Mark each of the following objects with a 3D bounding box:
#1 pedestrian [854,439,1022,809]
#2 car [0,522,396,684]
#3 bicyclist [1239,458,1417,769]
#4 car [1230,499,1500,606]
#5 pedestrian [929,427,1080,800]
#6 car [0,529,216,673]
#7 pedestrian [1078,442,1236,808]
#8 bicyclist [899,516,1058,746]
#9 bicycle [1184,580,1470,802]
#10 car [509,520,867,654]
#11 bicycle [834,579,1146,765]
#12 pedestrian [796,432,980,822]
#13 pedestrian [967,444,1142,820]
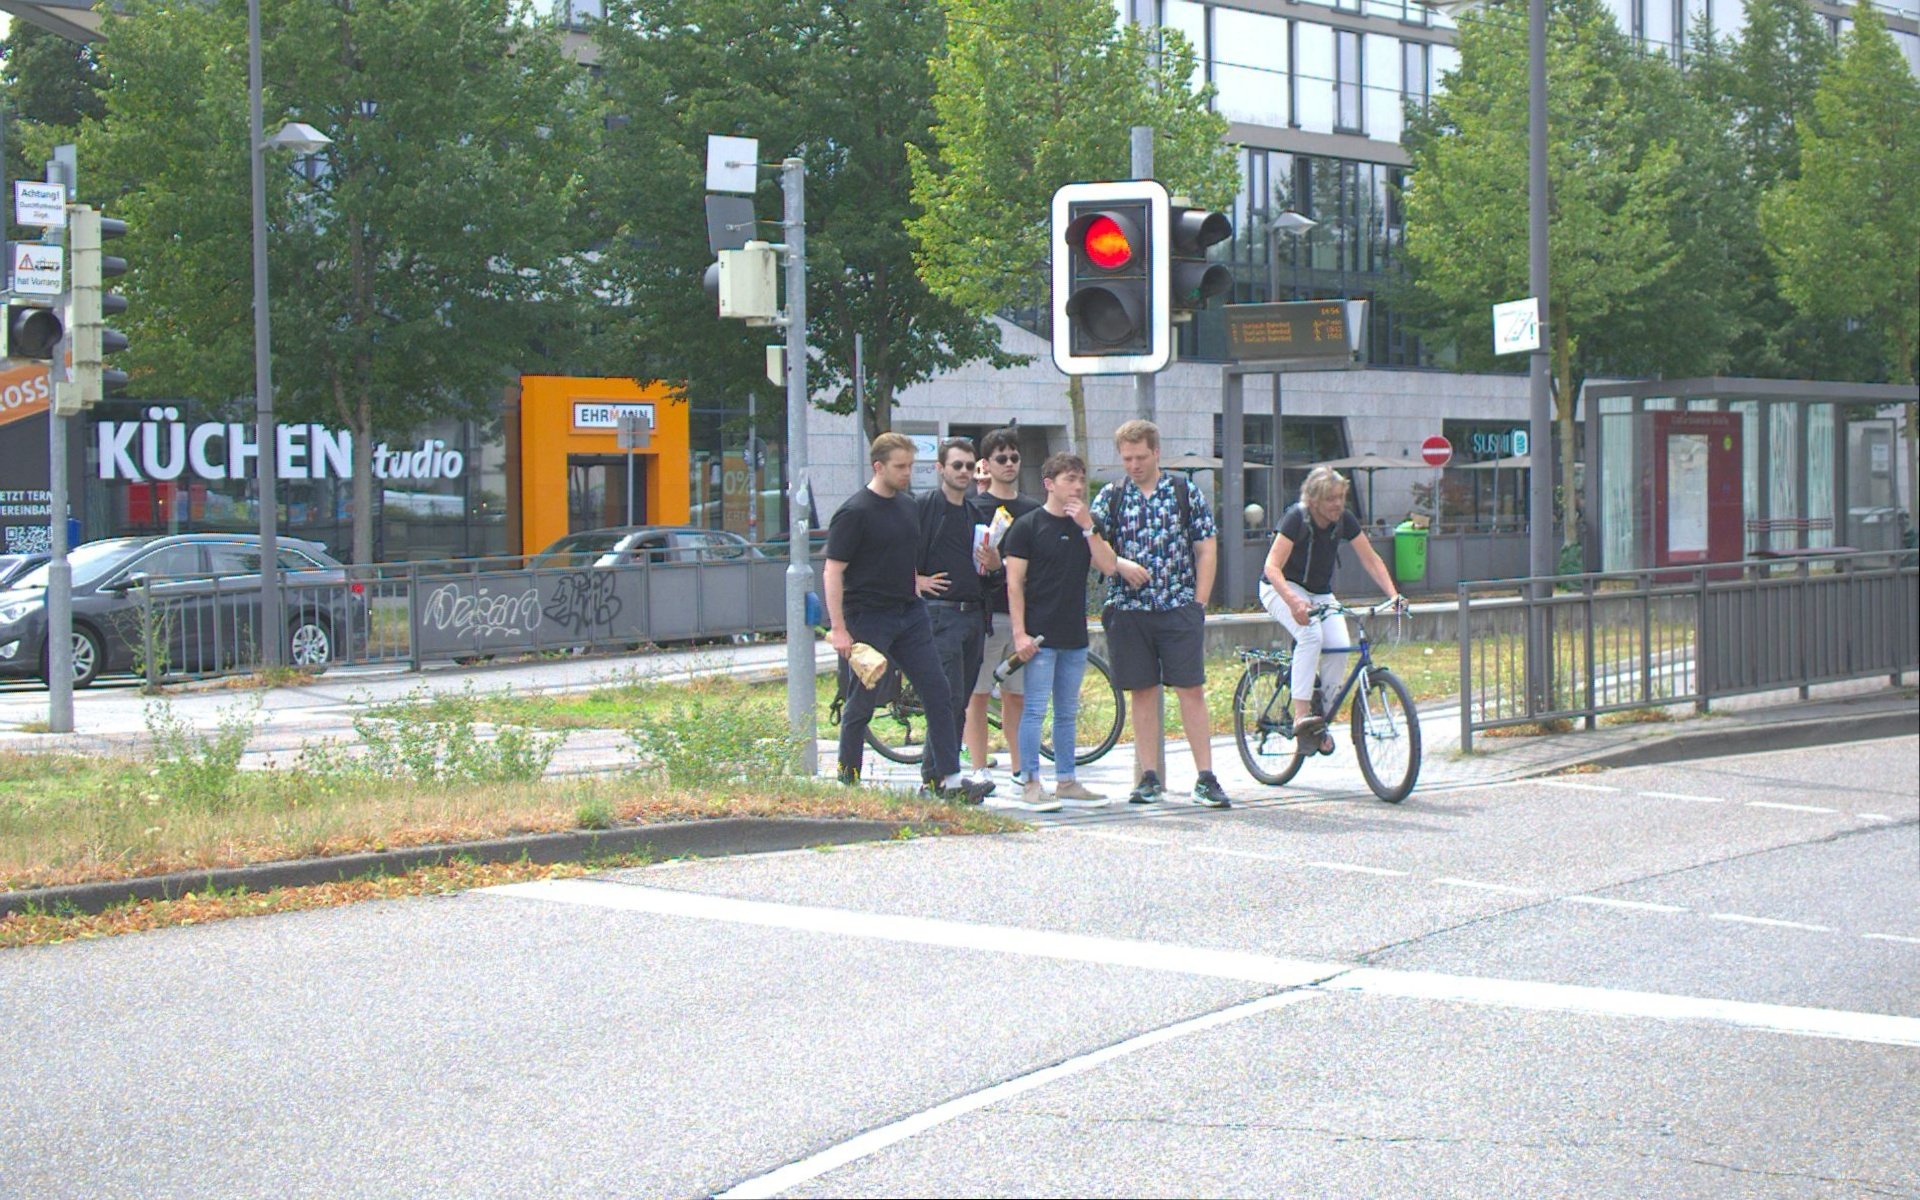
[{"bbox_3d":[-0.105,0.102,16.892,0.552,1.775,0.632,1,2,35],"label":"pedestrian"},{"bbox_3d":[-7.987,-0.023,33.751,1.847,1.453,4.726,2,2,42],"label":"car"},{"bbox_3d":[1.907,0.057,17.869,0.558,1.575,0.765,-1,2,-31],"label":"bicyclist"},{"bbox_3d":[5.819,-0.706,49.118,1.847,1.453,3.990,2,2,43],"label":"car"},{"bbox_3d":[0.227,0.057,17.441,0.552,1.855,0.530,1,2,35],"label":"pedestrian"},{"bbox_3d":[-10.128,-0.006,36.579,1.847,1.453,3.990,2,2,42],"label":"car"},{"bbox_3d":[0.979,0.111,17.103,0.552,1.775,0.579,1,2,35],"label":"pedestrian"},{"bbox_3d":[0.110,0.166,20.074,0.674,1.312,0.639,1,2,35],"label":"bicyclist"},{"bbox_3d":[1.888,0.445,17.900,0.547,1.054,1.713,-1,2,-31],"label":"bicycle"},{"bbox_3d":[-3.139,-0.193,40.232,1.847,1.453,3.990,2,2,43],"label":"car"},{"bbox_3d":[0.165,0.401,20.046,1.754,1.003,0.653,1,2,35],"label":"bicycle"},{"bbox_3d":[-0.333,0.111,16.077,0.552,1.775,0.689,1,2,35],"label":"pedestrian"},{"bbox_3d":[0.460,0.138,16.654,0.552,1.775,0.689,1,2,35],"label":"pedestrian"}]
